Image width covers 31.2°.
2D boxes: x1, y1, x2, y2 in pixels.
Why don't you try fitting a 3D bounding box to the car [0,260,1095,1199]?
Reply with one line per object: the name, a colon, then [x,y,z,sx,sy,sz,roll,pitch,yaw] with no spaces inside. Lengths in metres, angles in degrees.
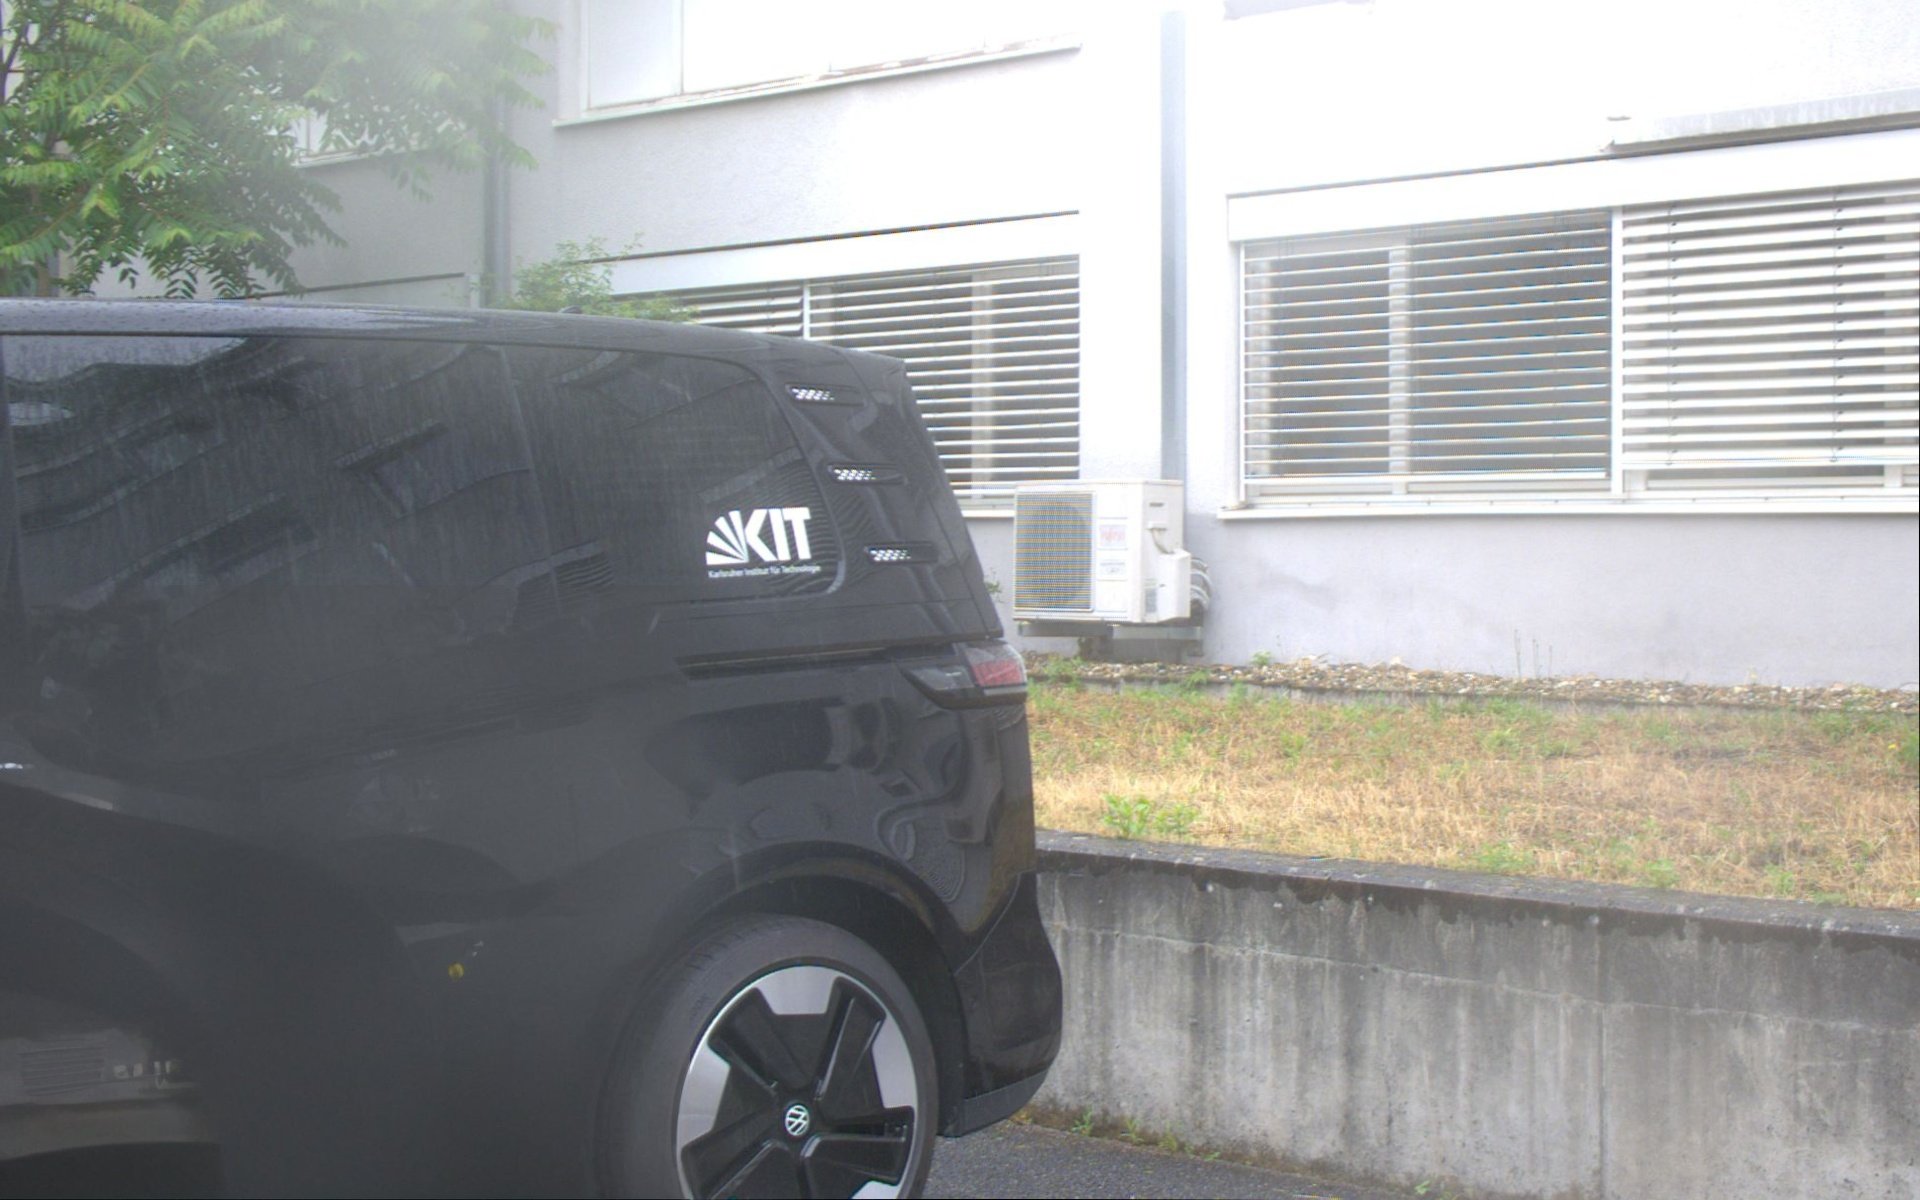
car: [-2.088,0.430,5.956,4.510,1.891,2.045,-1,1,-43]
